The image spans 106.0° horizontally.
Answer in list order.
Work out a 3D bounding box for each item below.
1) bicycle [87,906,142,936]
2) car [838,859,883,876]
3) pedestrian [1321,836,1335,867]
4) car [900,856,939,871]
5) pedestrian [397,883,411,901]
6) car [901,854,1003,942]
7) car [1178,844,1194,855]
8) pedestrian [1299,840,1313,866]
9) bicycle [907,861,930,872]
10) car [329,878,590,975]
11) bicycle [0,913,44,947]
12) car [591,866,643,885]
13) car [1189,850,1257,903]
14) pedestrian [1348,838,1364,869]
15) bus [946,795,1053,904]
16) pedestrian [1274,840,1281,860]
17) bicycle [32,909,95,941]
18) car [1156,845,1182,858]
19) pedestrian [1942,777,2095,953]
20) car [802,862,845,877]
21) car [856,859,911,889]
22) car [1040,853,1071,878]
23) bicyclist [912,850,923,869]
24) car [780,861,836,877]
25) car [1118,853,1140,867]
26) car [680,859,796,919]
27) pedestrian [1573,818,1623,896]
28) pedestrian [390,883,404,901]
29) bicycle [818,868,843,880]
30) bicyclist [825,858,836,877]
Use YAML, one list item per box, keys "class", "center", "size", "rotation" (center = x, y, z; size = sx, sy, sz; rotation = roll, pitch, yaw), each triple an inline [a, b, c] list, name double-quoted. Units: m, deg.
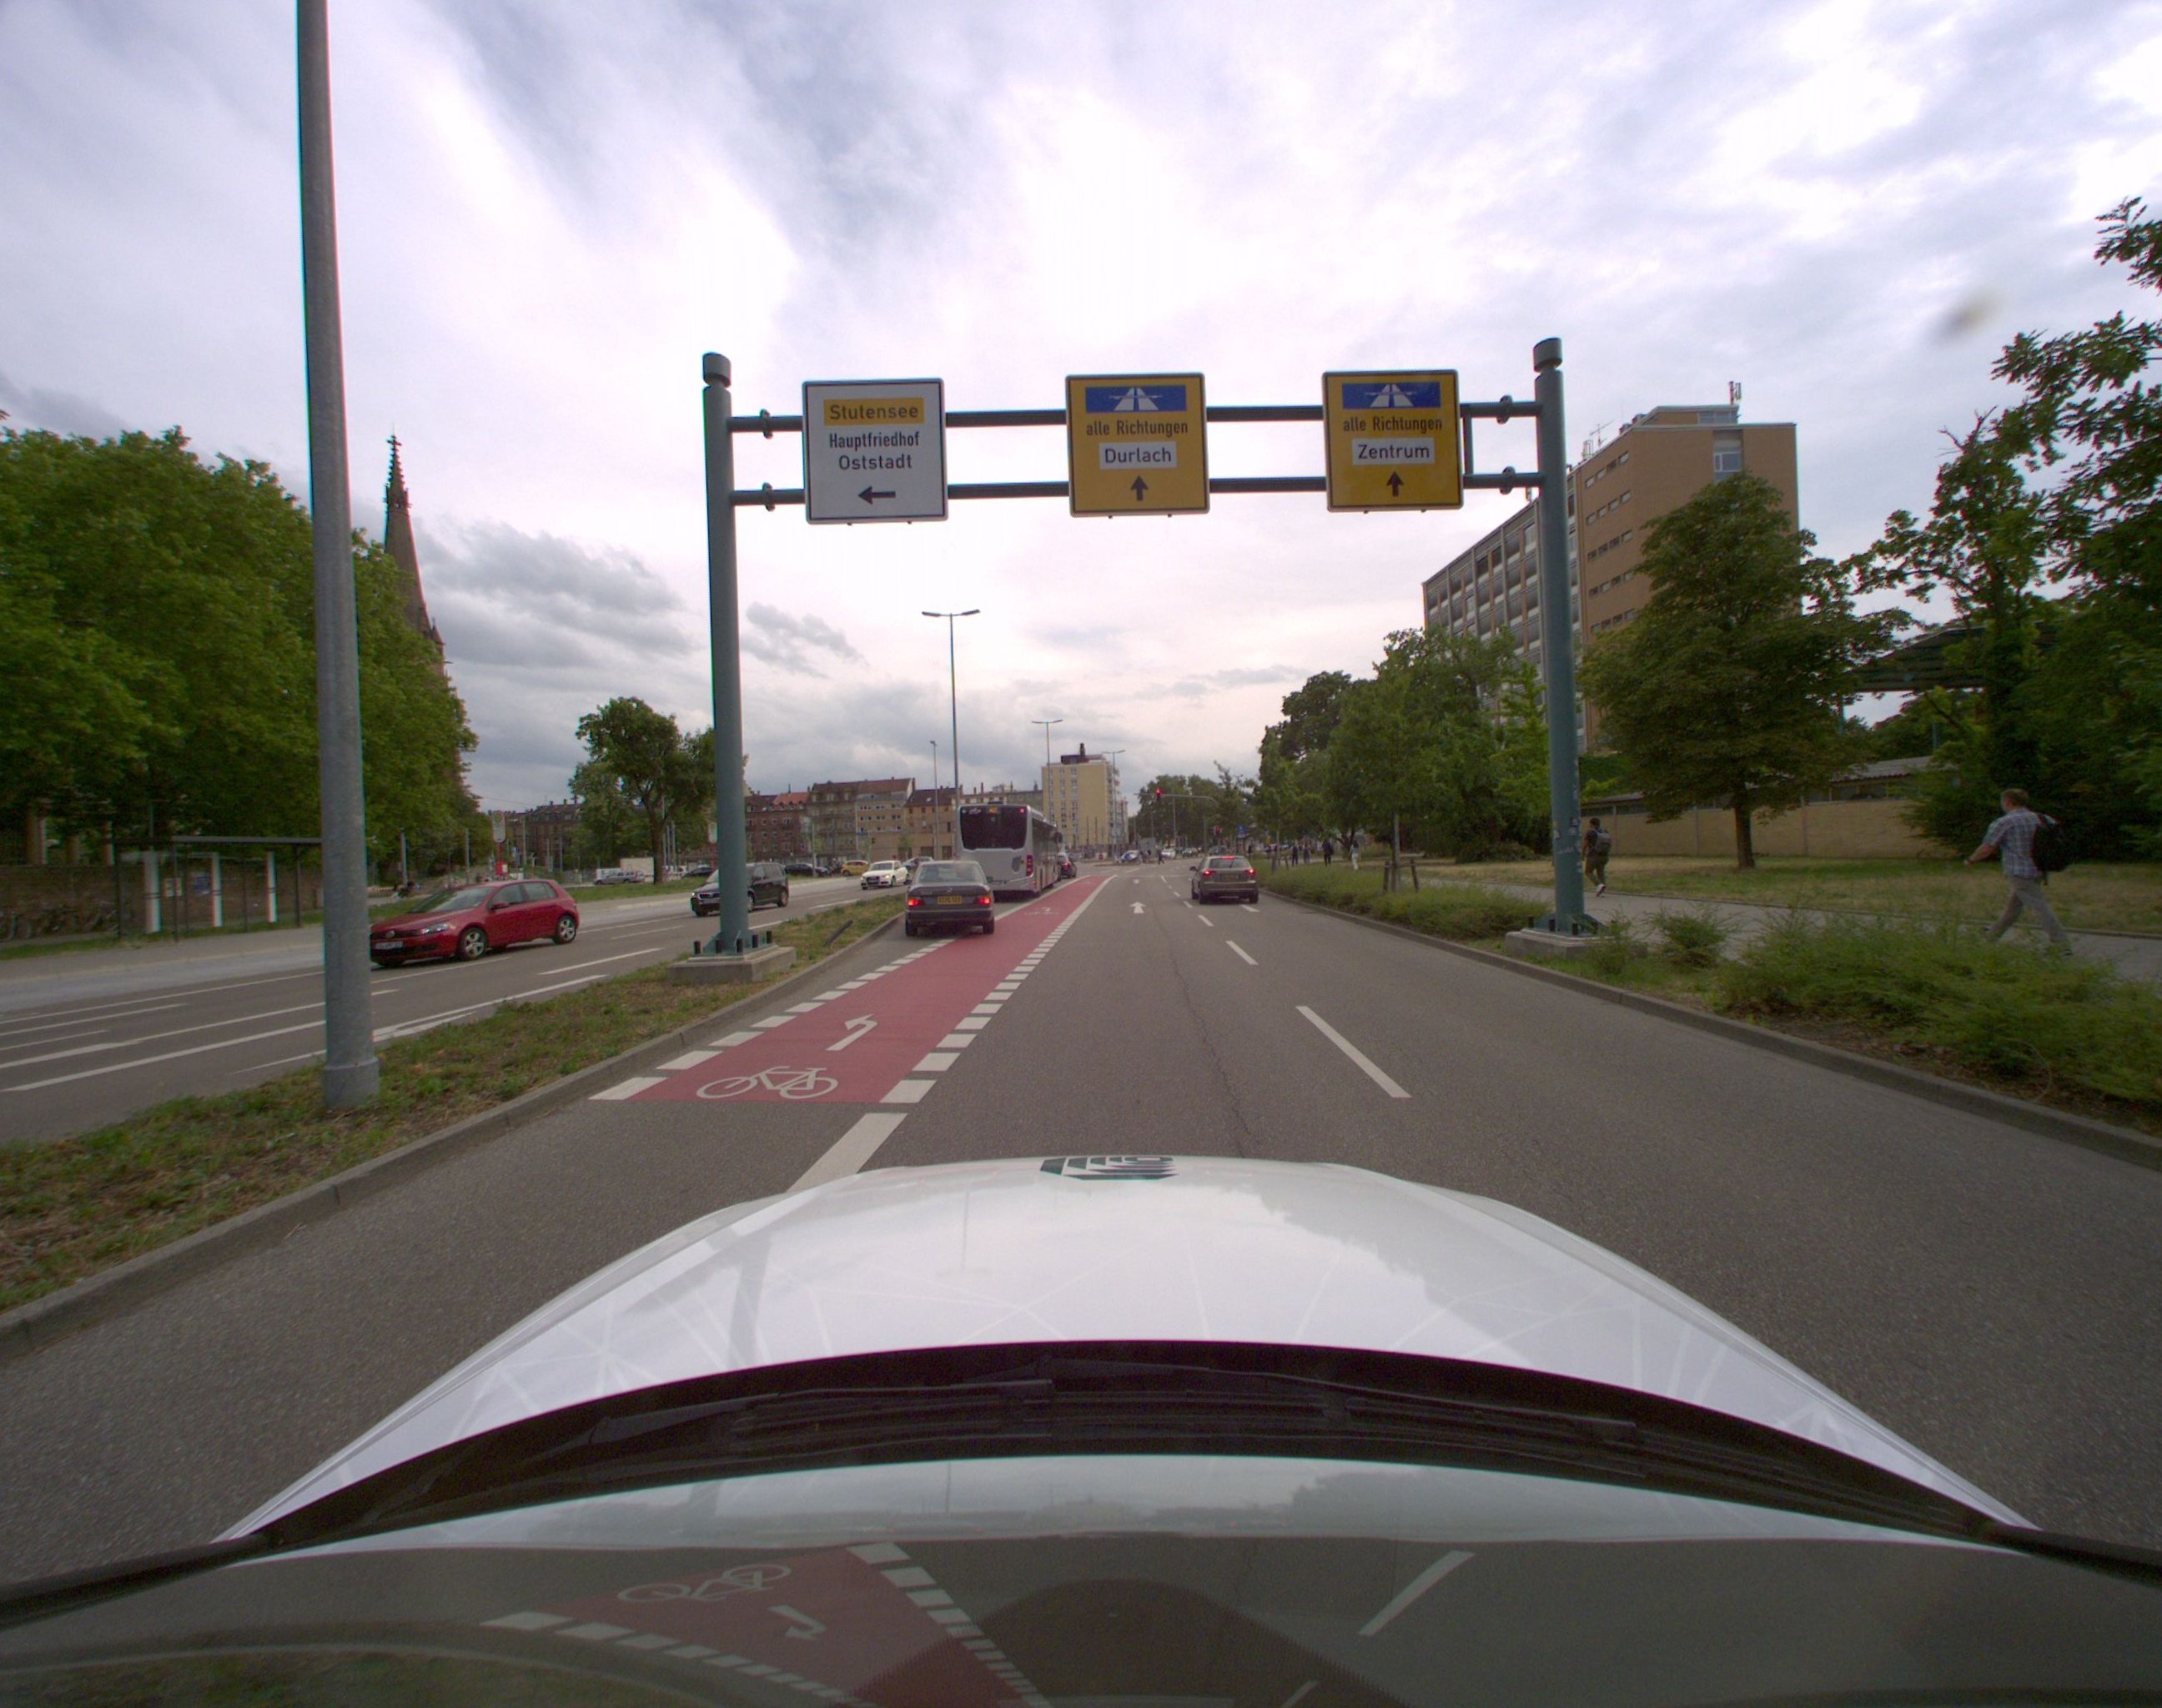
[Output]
- class: "bicycle"
  center: [-32.910, 2.254, 27.751]
  size: [0.482, 0.907, 1.609]
  rotation: [0, -1, -21]
- class: "car"
  center: [-20.717, 1.284, 76.601]
  size: [3.846, 1.517, 1.659]
  rotation: [-1, 0, -2]
- class: "pedestrian"
  center: [13.577, -0.141, 44.774]
  size: [0.641, 1.713, 0.564]
  rotation: [-3, 0, 18]
- class: "car"
  center: [-16.280, 0.934, 82.068]
  size: [3.681, 1.394, 1.575]
  rotation: [-1, 0, -17]
- class: "pedestrian"
  center: [-60.012, 3.346, 72.167]
  size: [0.560, 1.560, 0.725]
  rotation: [-2, 0, -3]
- class: "car"
  center: [-2.640, 0.776, 16.662]
  size: [1.761, 1.489, 4.157]
  rotation: [-2, 0, -10]
- class: "car"
  center: [19.170, -0.758, 148.730]
  size: [1.791, 1.850, 4.021]
  rotation: [-3, 0, 21]
- class: "pedestrian"
  center: [14.769, -0.075, 53.514]
  size: [0.796, 1.713, 0.768]
  rotation: [-3, 0, 16]
- class: "bicycle"
  center: [-14.744, 1.130, 73.863]
  size: [1.958, 0.982, 0.631]
  rotation: [-3, 0, 0]
- class: "car"
  center: [-12.263, 1.346, 16.518]
  size: [1.794, 1.489, 4.292]
  rotation: [-2, 0, 3]
- class: "bicycle"
  center: [-31.397, 2.221, 23.861]
  size: [0.482, 0.907, 1.609]
  rotation: [0, -1, -21]
- class: "car"
  center: [-46.124, 2.141, 81.040]
  size: [4.144, 1.649, 1.645]
  rotation: [-3, 0, -3]
- class: "car"
  center: [4.348, 0.651, 25.445]
  size: [1.716, 1.457, 3.741]
  rotation: [-2, 0, 5]
- class: "pedestrian"
  center: [13.111, -0.025, 38.823]
  size: [0.651, 1.470, 0.564]
  rotation: [-3, 0, 20]
- class: "bus"
  center: [-2.752, -0.166, 30.163]
  size: [2.821, 3.390, 8.186]
  rotation: [-2, 0, 2]
- class: "pedestrian"
  center: [20.139, -0.429, 83.452]
  size: [0.612, 2.013, 0.597]
  rotation: [-2, 0, 2]
- class: "bicycle"
  center: [-32.268, 2.240, 25.862]
  size: [0.482, 0.907, 1.609]
  rotation: [0, -1, -21]
- class: "car"
  center: [15.063, -0.477, 138.821]
  size: [2.559, 2.109, 5.634]
  rotation: [-2, 0, 26]
- class: "pedestrian"
  center: [9.834, 0.111, 8.576]
  size: [0.616, 1.735, 0.815]
  rotation: [-3, 0, 3]
- class: "car"
  center: [-25.517, 1.486, 80.777]
  size: [3.753, 1.394, 1.583]
  rotation: [-1, 0, -2]
- class: "car"
  center: [-10.464, 1.026, 43.438]
  size: [1.663, 1.389, 3.926]
  rotation: [-3, 0, 4]
- class: "car"
  center: [-1.482, 0.661, 48.989]
  size: [1.649, 1.396, 3.860]
  rotation: [-2, 0, 1]
- class: "bicyclist"
  center: [-14.835, 0.505, 73.861]
  size: [0.784, 1.643, 0.614]
  rotation: [-3, 0, 0]
- class: "car"
  center: [-25.616, 1.400, 76.473]
  size: [4.657, 1.475, 1.659]
  rotation: [-1, 0, -2]
- class: "car"
  center: [6.486, 0.794, 110.220]
  size: [1.978, 1.703, 4.018]
  rotation: [-2, 0, 17]
- class: "car"
  center: [-11.405, 1.097, 27.450]
  size: [1.794, 1.665, 4.304]
  rotation: [-4, 0, 3]
- class: "pedestrian"
  center: [11.525, 0.056, 18.167]
  size: [0.585, 1.682, 0.749]
  rotation: [-3, 0, 3]
- class: "pedestrian"
  center: [-60.977, 3.364, 72.571]
  size: [0.560, 1.560, 0.725]
  rotation: [-2, 0, -3]
- class: "bicycle"
  center: [-22.723, 1.813, 73.878]
  size: [1.959, 0.982, 0.630]
  rotation: [-3, 0, -2]
- class: "bicyclist"
  center: [-22.737, 1.197, 73.856]
  size: [0.784, 1.643, 0.572]
  rotation: [-3, 0, -2]
